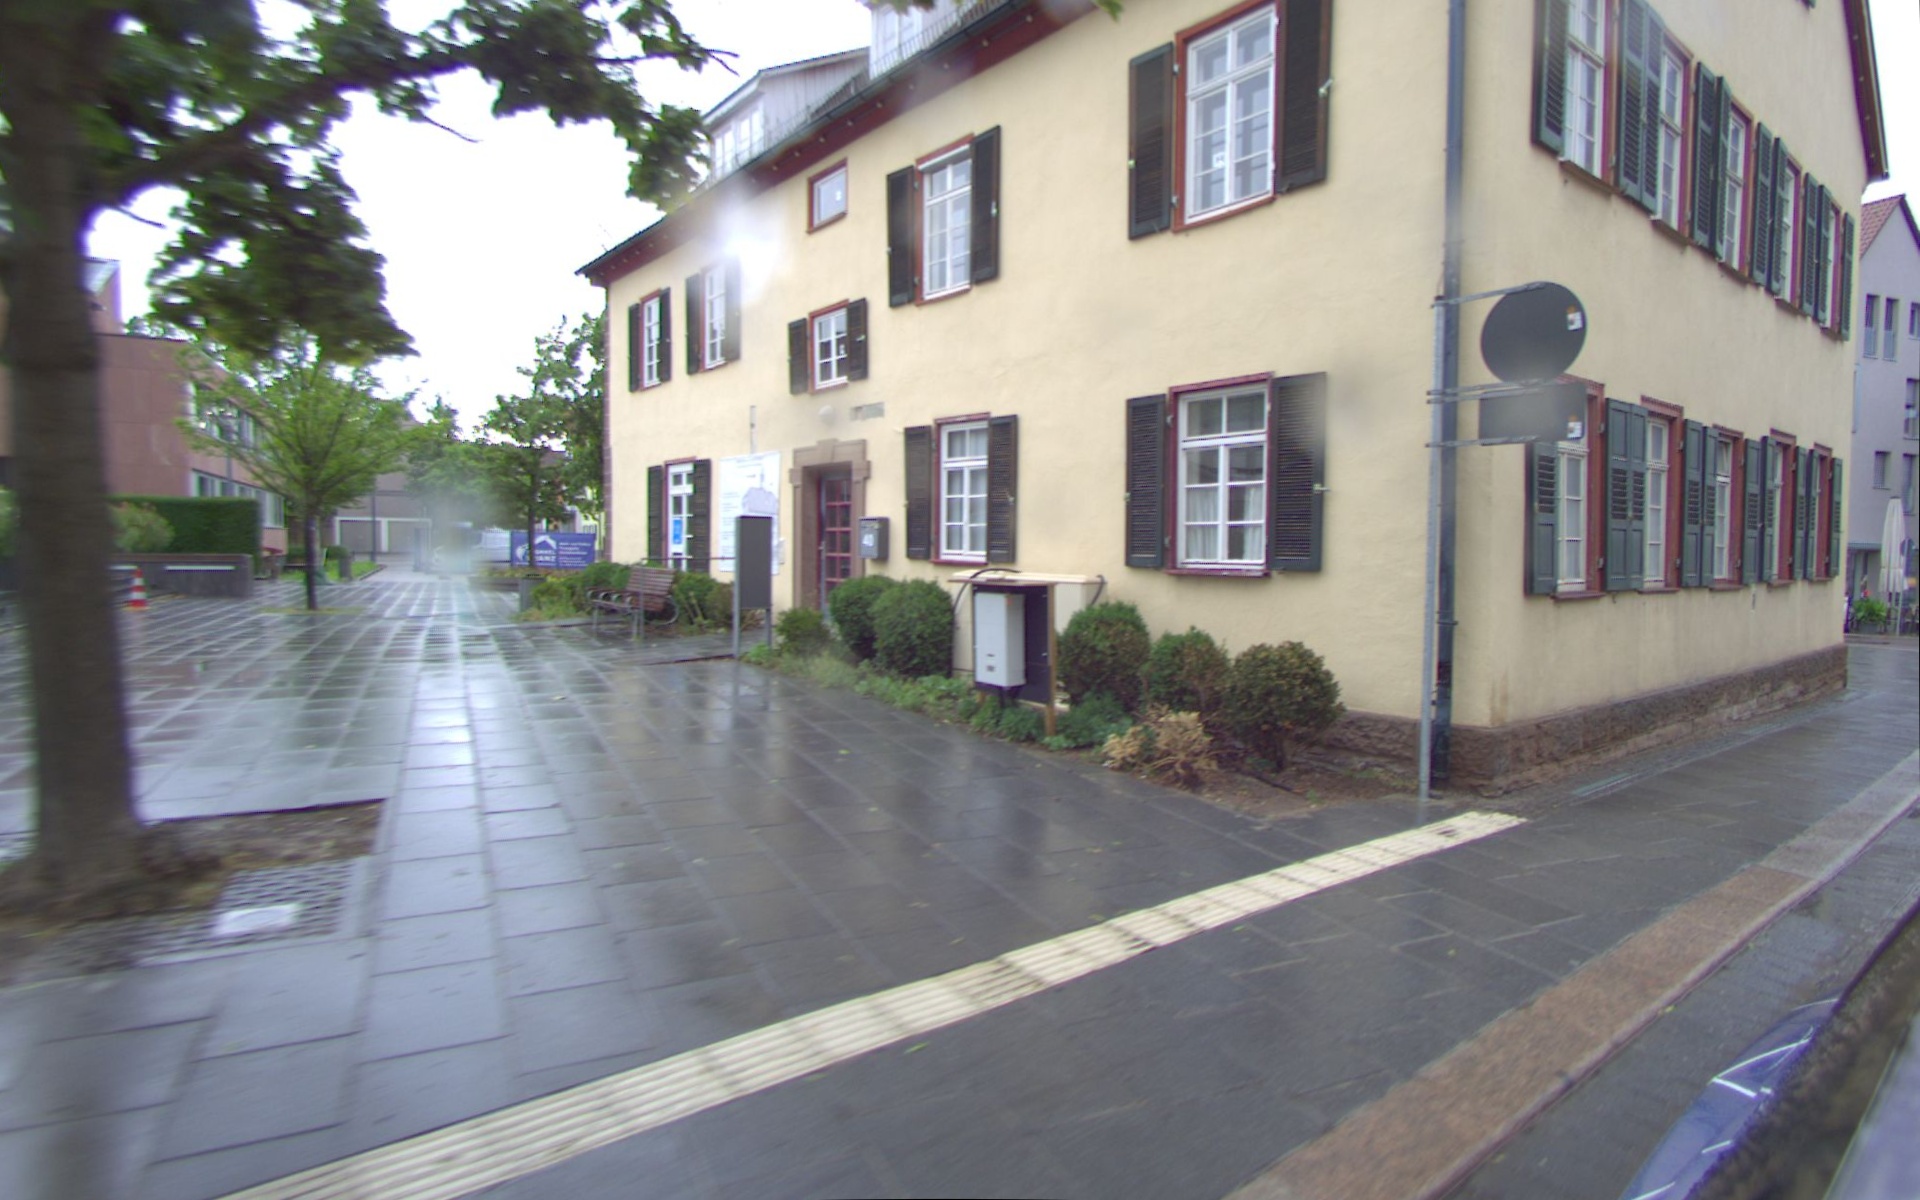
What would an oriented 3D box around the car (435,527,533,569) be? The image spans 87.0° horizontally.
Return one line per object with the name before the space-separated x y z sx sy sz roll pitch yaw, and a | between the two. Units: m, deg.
car | -21.867 -2.397 46.522 3.920 1.793 1.722 0 4 -30
